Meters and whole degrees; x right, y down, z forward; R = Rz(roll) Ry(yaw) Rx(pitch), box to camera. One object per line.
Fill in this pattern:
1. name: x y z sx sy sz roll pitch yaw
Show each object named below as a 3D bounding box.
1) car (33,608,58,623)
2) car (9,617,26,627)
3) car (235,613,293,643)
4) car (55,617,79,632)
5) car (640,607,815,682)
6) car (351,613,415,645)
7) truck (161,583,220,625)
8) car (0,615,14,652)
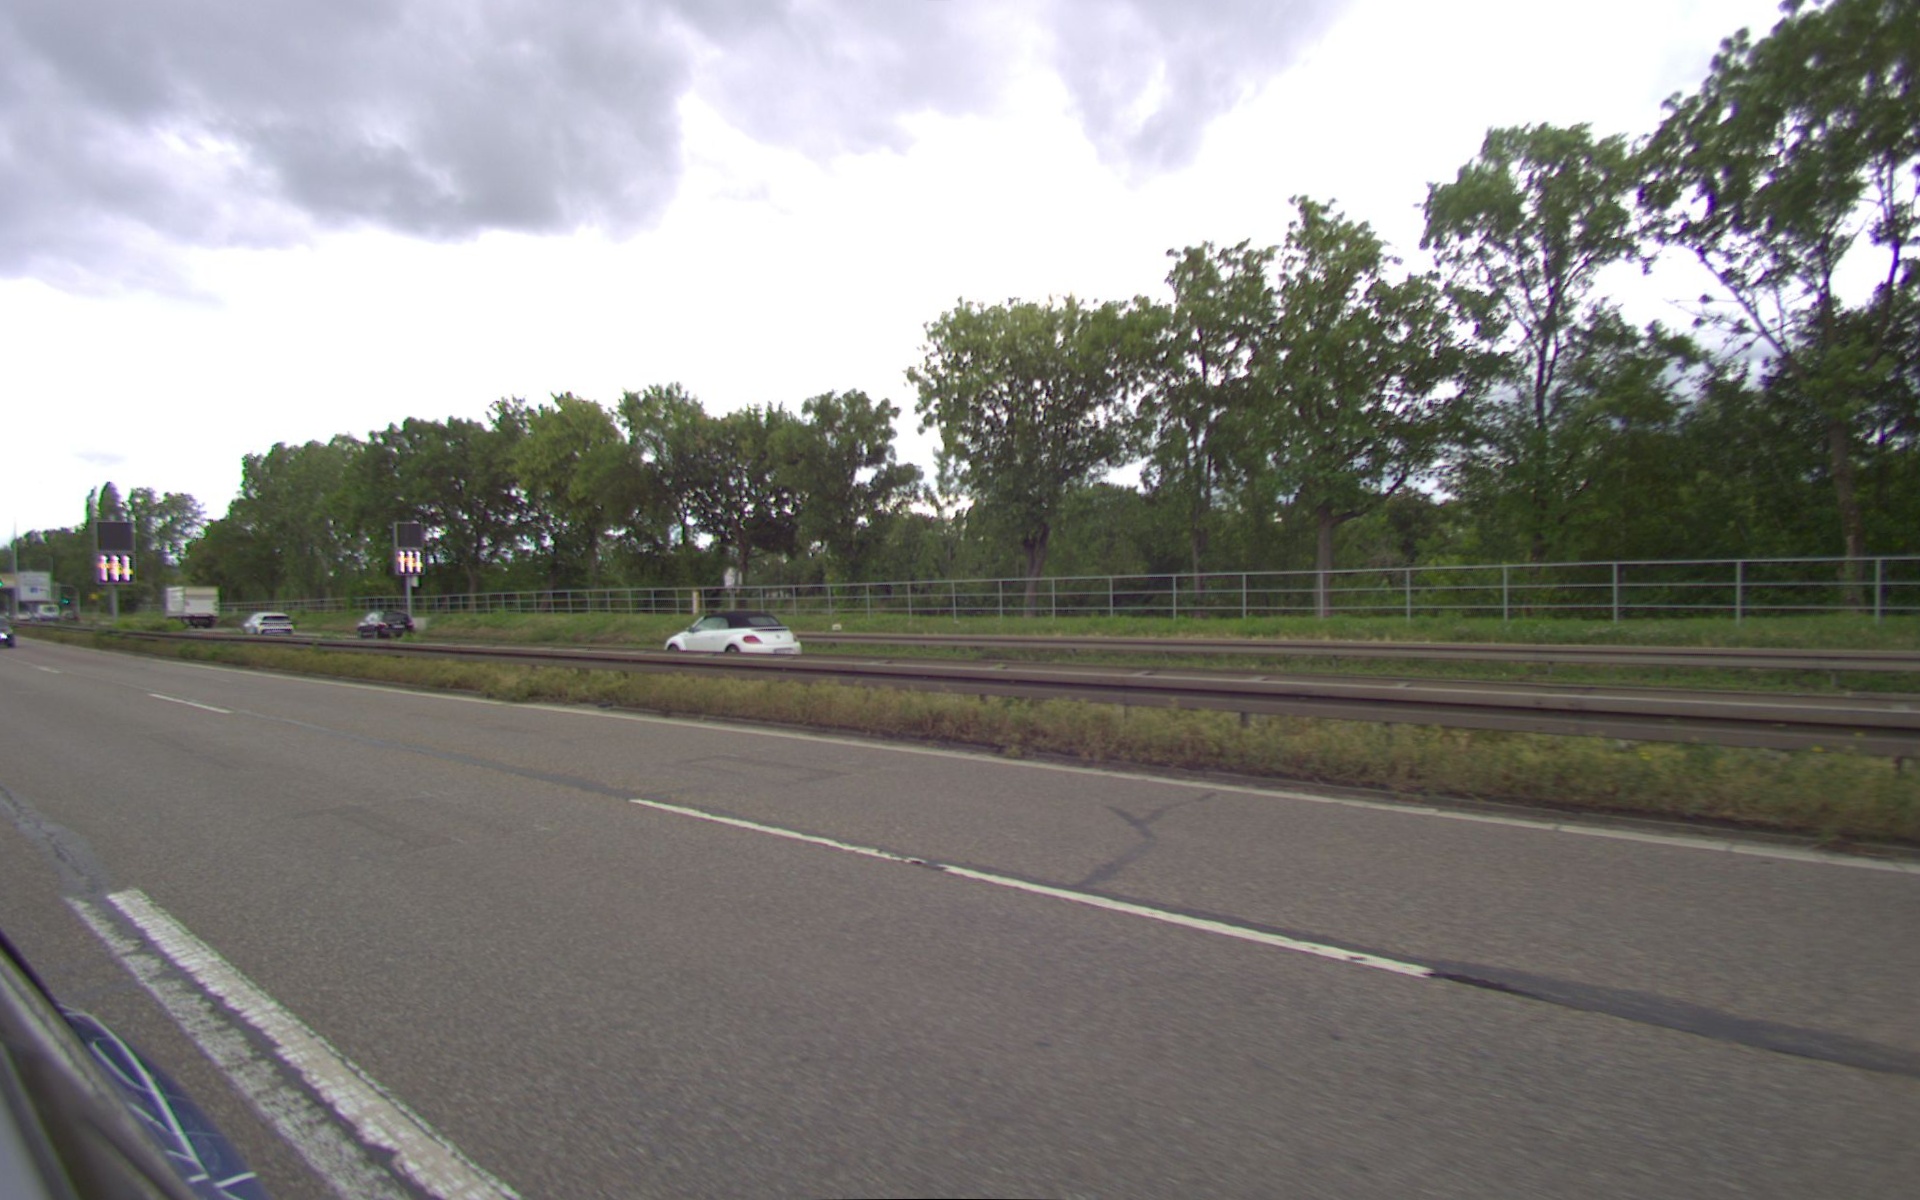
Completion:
1. car: -124.788 2.121 138.043 5.476 1.962 2.201 -1 0 44
2. car: -145.841 3.379 156.607 3.988 1.409 1.641 -2 -2 42
3. car: -39.440 1.592 57.330 4.537 1.617 1.679 -1 -2 42
4. car: -108.301 2.973 122.741 4.148 1.738 1.858 -2 1 44
5. car: -5.910 1.067 25.385 4.716 1.687 1.847 -1 -1 41
6. car: -30.126 1.522 52.824 4.041 1.617 1.708 -1 -2 42
7. truck: -69.820 0.420 91.726 9.590 3.606 2.857 -1 0 44
8. car: -46.729 1.632 48.281 4.144 1.738 1.859 -2 1 41
